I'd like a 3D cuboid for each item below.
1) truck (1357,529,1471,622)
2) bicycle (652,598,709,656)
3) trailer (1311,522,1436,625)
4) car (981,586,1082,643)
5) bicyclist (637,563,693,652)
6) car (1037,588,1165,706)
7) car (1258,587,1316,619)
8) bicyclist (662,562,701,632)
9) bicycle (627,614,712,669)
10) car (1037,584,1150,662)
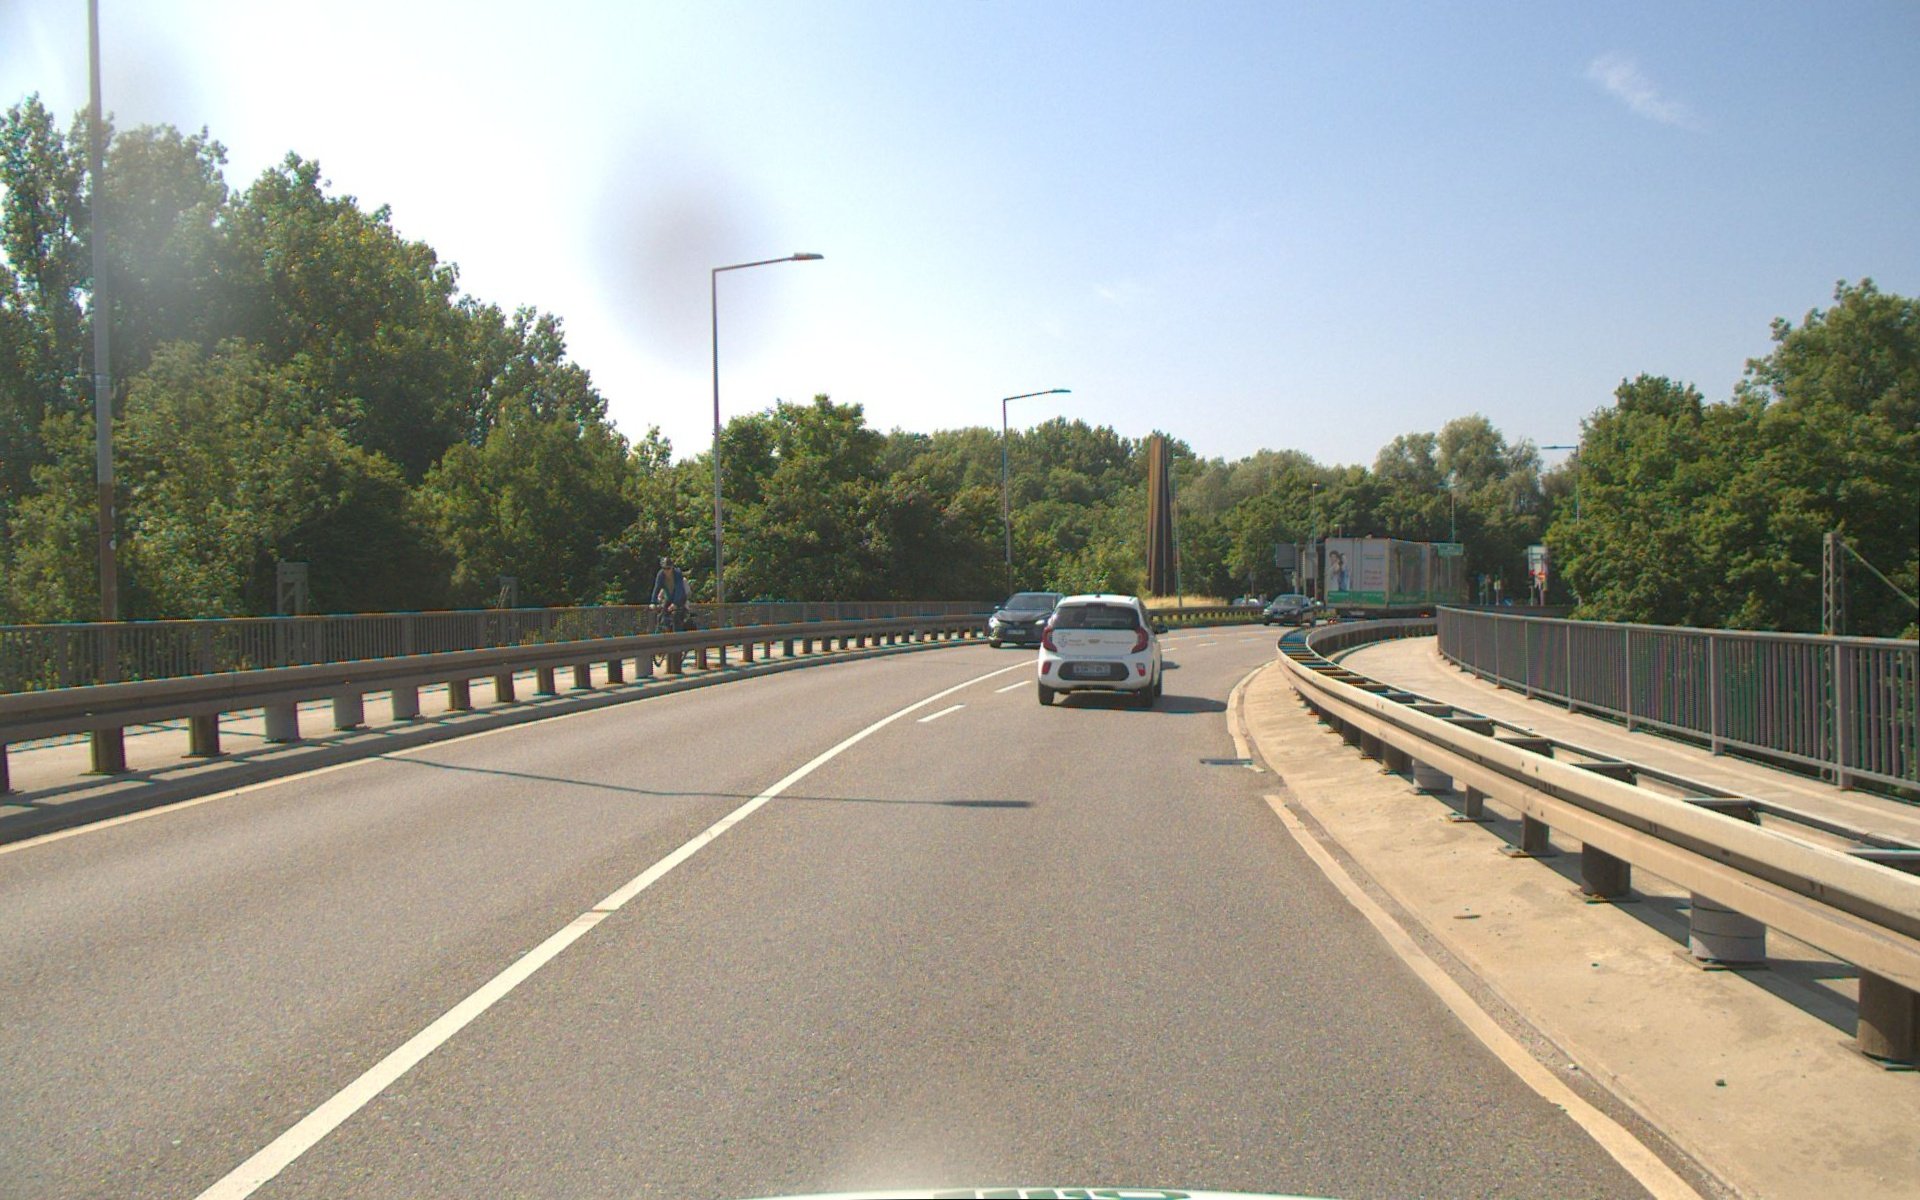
[{"bbox_3d":[20.443,-1.071,74.092,3.197,3.823,8.361,3,1,27],"label":"truck"},{"bbox_3d":[-5.487,0.521,32.571,0.562,1.065,1.711,1,1,9],"label":"bicycle"},{"bbox_3d":[16.845,-1.047,66.915,3.162,3.823,7.816,3,1,27],"label":"trailer"},{"bbox_3d":[1.995,0.354,44.749,1.779,1.455,4.868,0,1,14],"label":"car"},{"bbox_3d":[-5.231,0.120,29.357,0.646,1.522,1.017,1,2,12],"label":"bicyclist"},{"bbox_3d":[2.099,0.619,24.024,1.665,1.520,4.003,2,0,6],"label":"car"},{"bbox_3d":[15.829,0.124,79.856,1.818,1.467,4.514,1,1,24],"label":"car"},{"bbox_3d":[-5.478,-0.047,32.573,0.478,1.352,0.947,1,-1,8],"label":"bicyclist"},{"bbox_3d":[-5.199,0.726,29.727,0.908,0.906,1.969,1,1,9],"label":"bicycle"},{"bbox_3d":[2.922,0.432,35.293,1.897,1.512,4.904,1,0,11],"label":"car"}]
